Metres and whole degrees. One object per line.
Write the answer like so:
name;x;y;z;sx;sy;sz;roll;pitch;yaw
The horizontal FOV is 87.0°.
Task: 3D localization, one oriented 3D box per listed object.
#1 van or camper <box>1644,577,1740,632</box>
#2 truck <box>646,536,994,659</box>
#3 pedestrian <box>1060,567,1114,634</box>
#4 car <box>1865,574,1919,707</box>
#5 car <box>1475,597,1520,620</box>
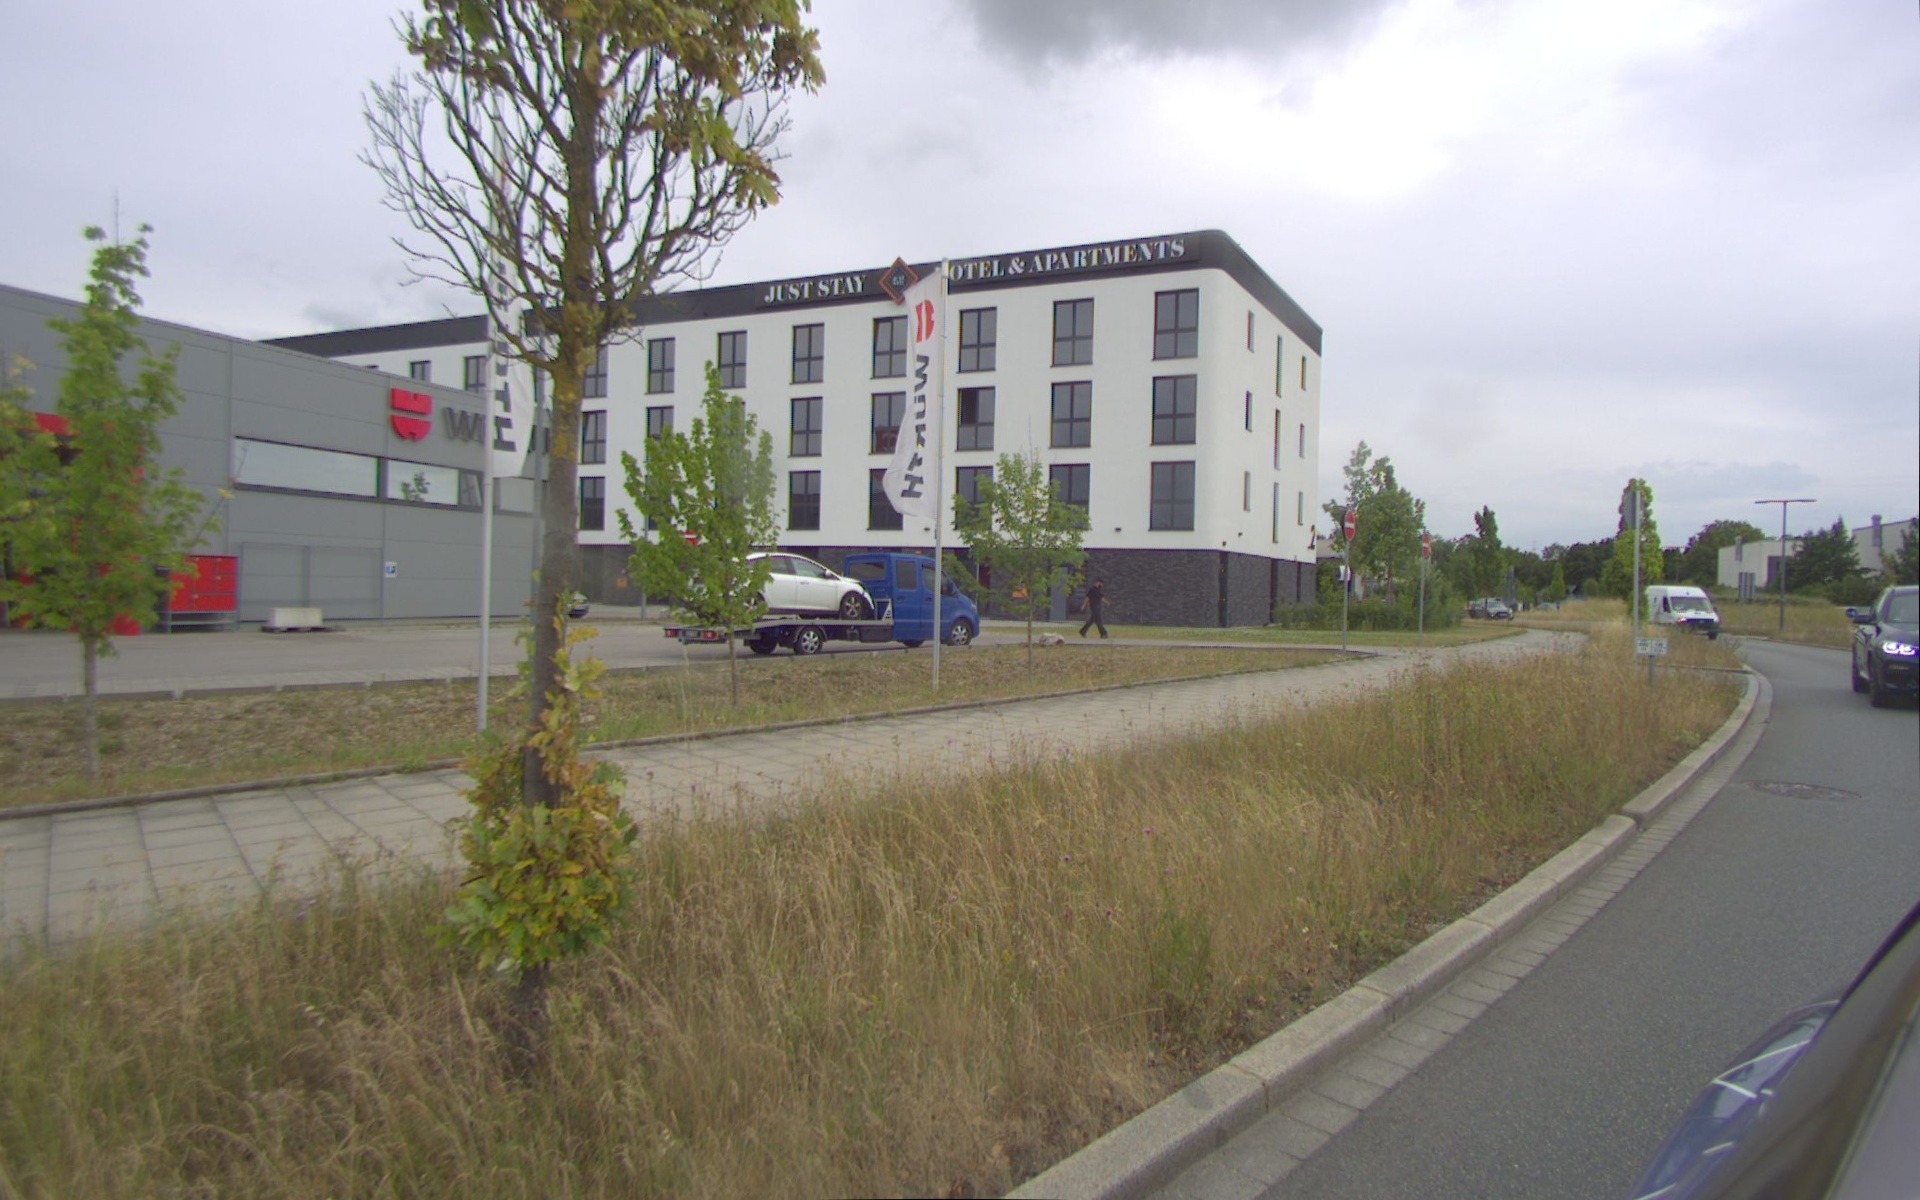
van or camper;37.316;0.176;51.797;2.236;2.649;5.664;1;1;18
truck;-2.834;-0.081;22.963;8.079;2.355;2.228;0;1;-44
pedestrian;3.697;-0.001;29.529;1.188;1.880;1.061;2;3;37
car;13.943;0.514;14.001;1.991;1.685;3.942;0;0;40
car;39.236;0.577;73.913;1.971;1.605;3.983;0;1;14
